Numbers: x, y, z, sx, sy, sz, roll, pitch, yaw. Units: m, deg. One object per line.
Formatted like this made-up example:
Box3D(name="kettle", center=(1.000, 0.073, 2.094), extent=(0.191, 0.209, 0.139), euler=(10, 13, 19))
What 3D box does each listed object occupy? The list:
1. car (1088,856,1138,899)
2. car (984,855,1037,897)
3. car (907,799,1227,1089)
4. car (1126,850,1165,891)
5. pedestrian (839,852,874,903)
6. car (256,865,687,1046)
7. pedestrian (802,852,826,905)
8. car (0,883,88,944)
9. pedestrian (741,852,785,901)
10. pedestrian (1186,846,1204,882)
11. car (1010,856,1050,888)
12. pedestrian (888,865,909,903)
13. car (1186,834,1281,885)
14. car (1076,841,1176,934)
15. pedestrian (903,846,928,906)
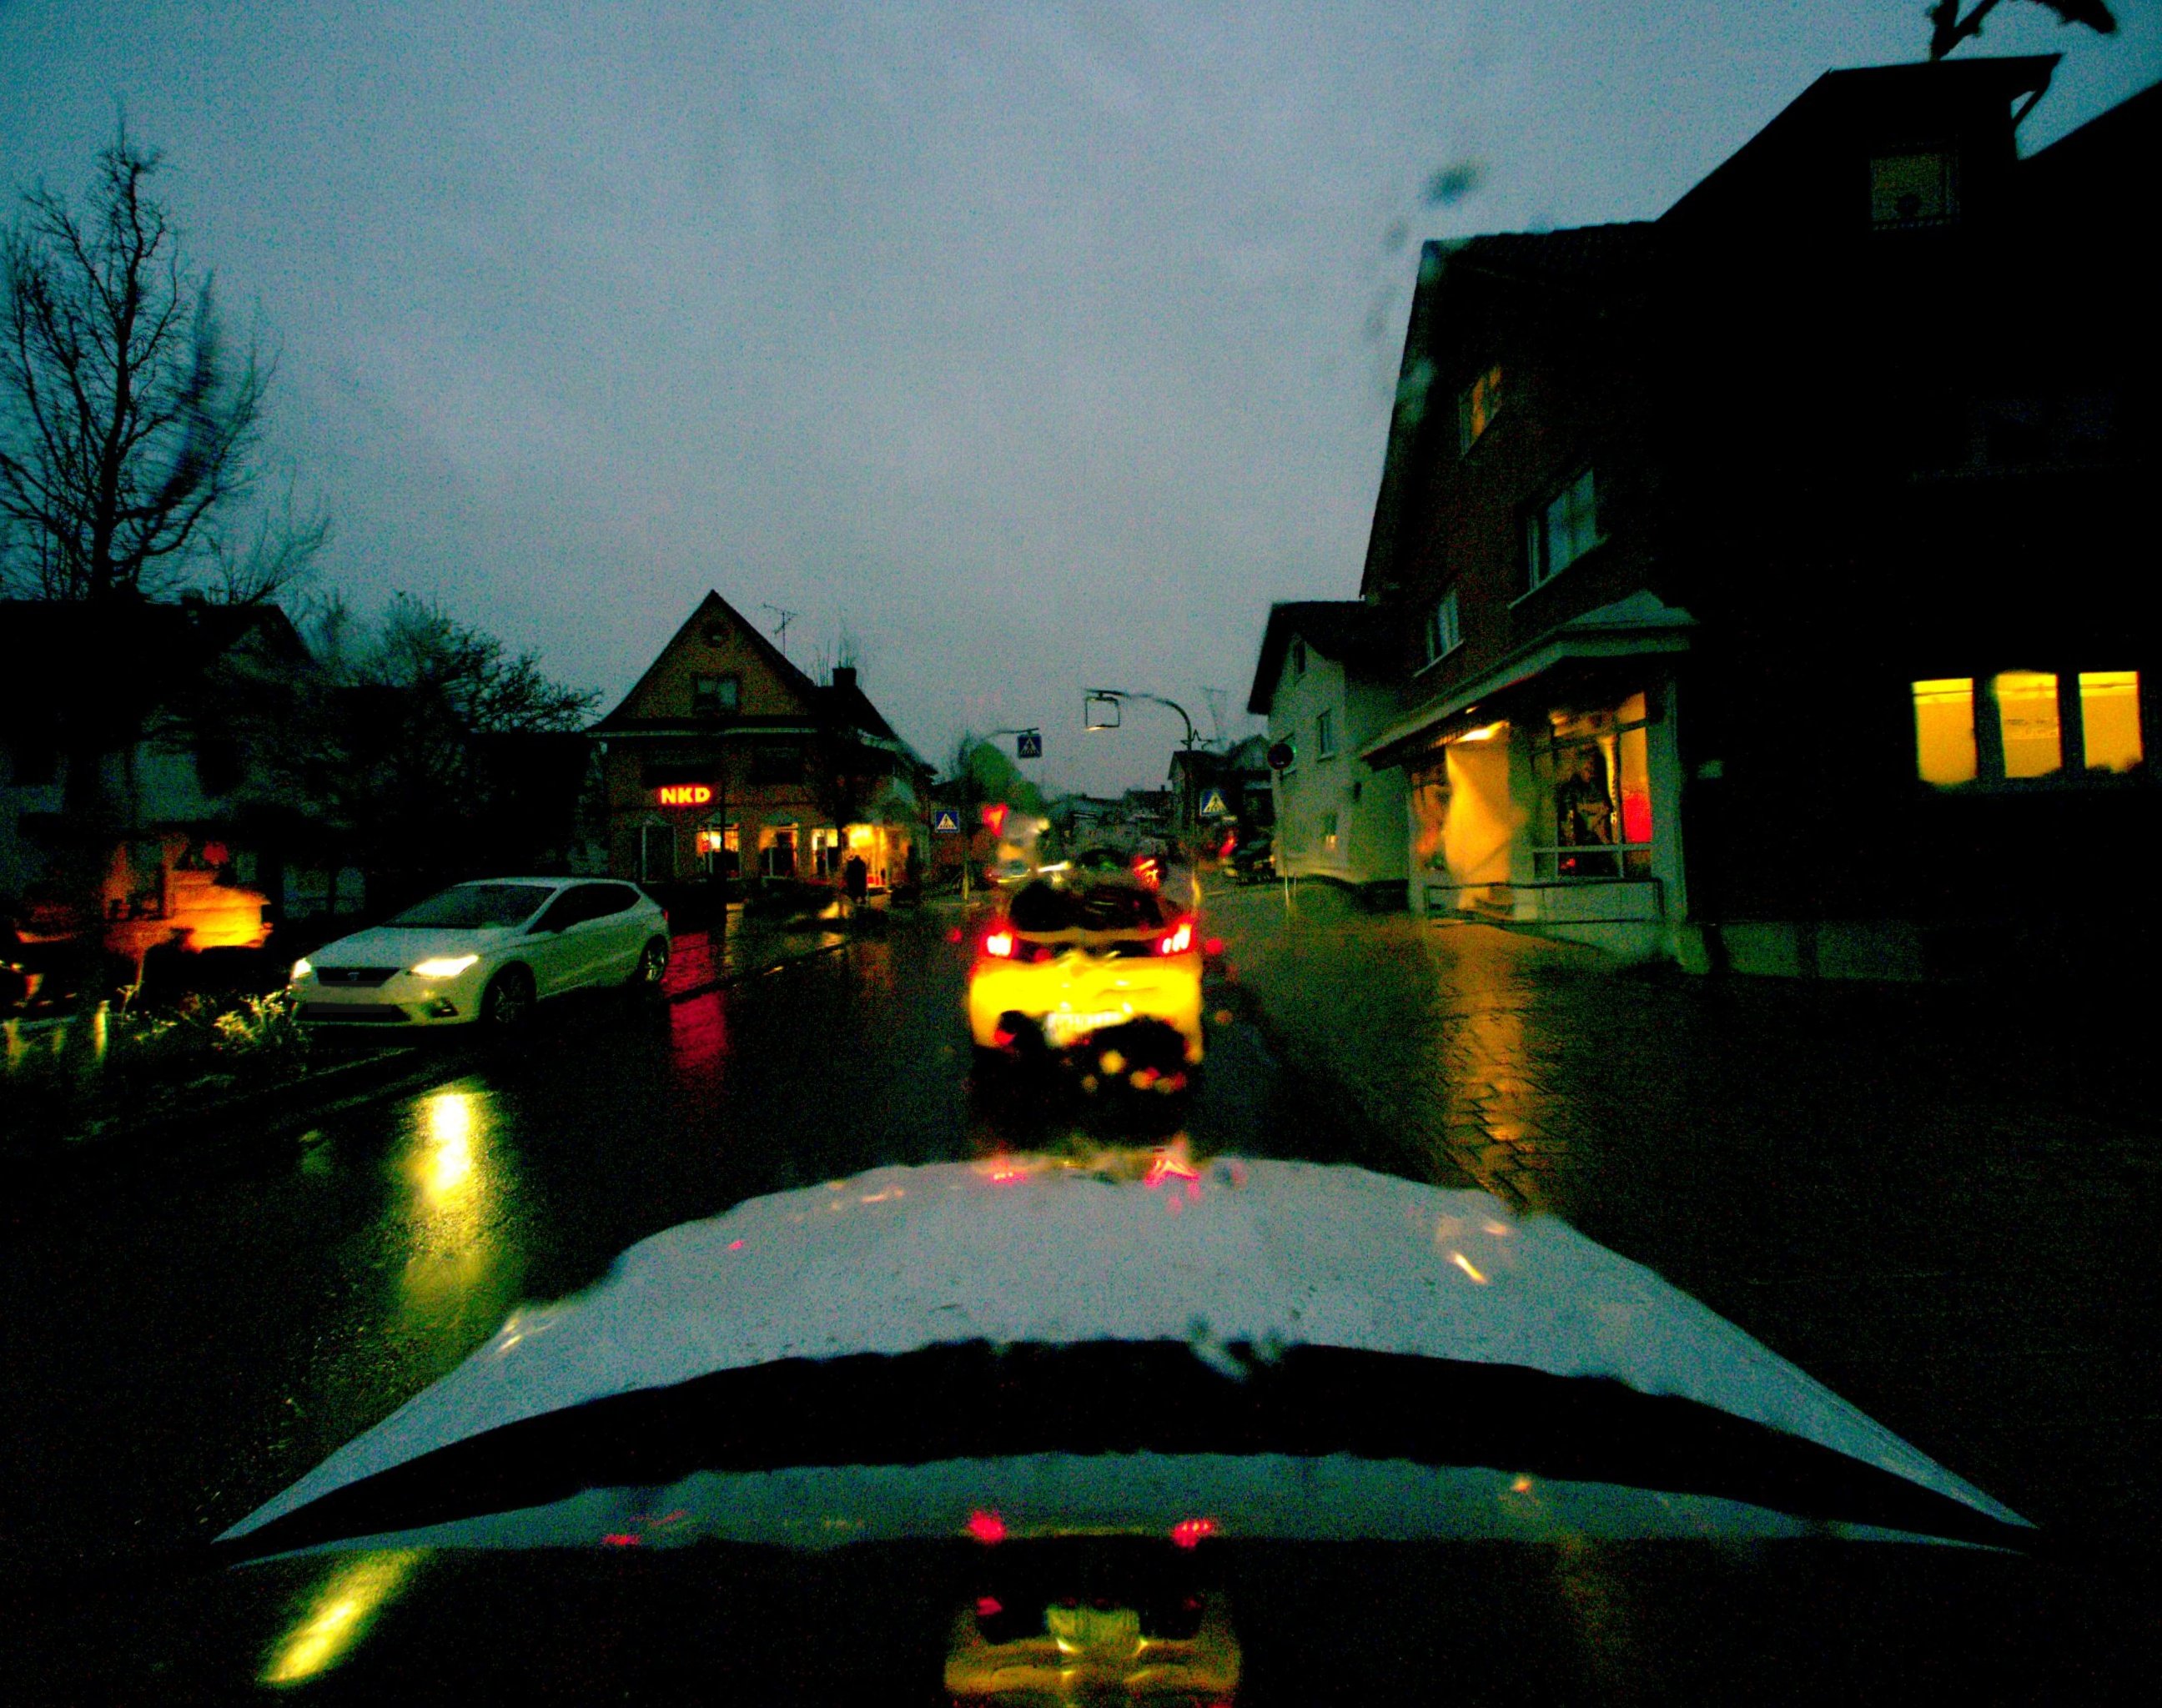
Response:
Box3D(name="car", center=(1.371, 0.895, 33.151), extent=(1.819, 1.601, 4.586), euler=(-1, 0, 4))
Box3D(name="car", center=(-3.517, 1.075, 41.481), extent=(1.985, 2.014, 4.366), euler=(-1, 0, 4))
Box3D(name="car", center=(0.095, 0.559, 7.477), extent=(1.984, 1.795, 4.654), euler=(-2, 0, 5))
Box3D(name="car", center=(3.420, 0.859, 43.939), extent=(1.637, 2.013, 3.999), euler=(-3, 0, -1))
Box3D(name="pedestrian", center=(-7.841, 0.790, 28.426), extent=(0.971, 1.742, 0.960), euler=(0, 0, -2))
Box3D(name="car", center=(-6.249, 0.906, 9.054), extent=(1.663, 1.516, 4.002), euler=(0, 0, 2))
Box3D(name="pedestrian", center=(-8.957, 0.799, 27.311), extent=(0.586, 1.742, 0.683), euler=(-1, -1, -4))
Box3D(name="car", center=(-29.350, 1.593, 21.424), extent=(3.894, 1.519, 1.608), euler=(-1, 0, -12))
Box3D(name="pedestrian", center=(-9.841, 0.685, 25.242), extent=(0.886, 1.417, 0.777), euler=(5, -1, 6))
Box3D(name="pedestrian", center=(6.621, 0.578, 47.358), extent=(1.011, 2.014, 1.277), euler=(-1, -1, 7))
Box3D(name="car", center=(-2.964, 1.048, 48.543), extent=(1.986, 1.752, 4.362), euler=(-1, 0, 1))
Box3D(name="pedestrian", center=(-5.934, 0.968, 26.493), extent=(0.551, 1.233, 0.433), euler=(-1, -1, -2))
Box3D(name="car", center=(6.223, 0.251, 33.545), extent=(3.679, 2.014, 1.691), euler=(-1, -1, 5))
Box3D(name="car", center=(0.932, 0.634, 16.773), extent=(1.790, 1.662, 4.003), euler=(-1, -1, 3))
Box3D(name="pedestrian", center=(-5.235, 0.681, 25.774), extent=(0.701, 1.876, 0.616), euler=(0, 0, -5))
